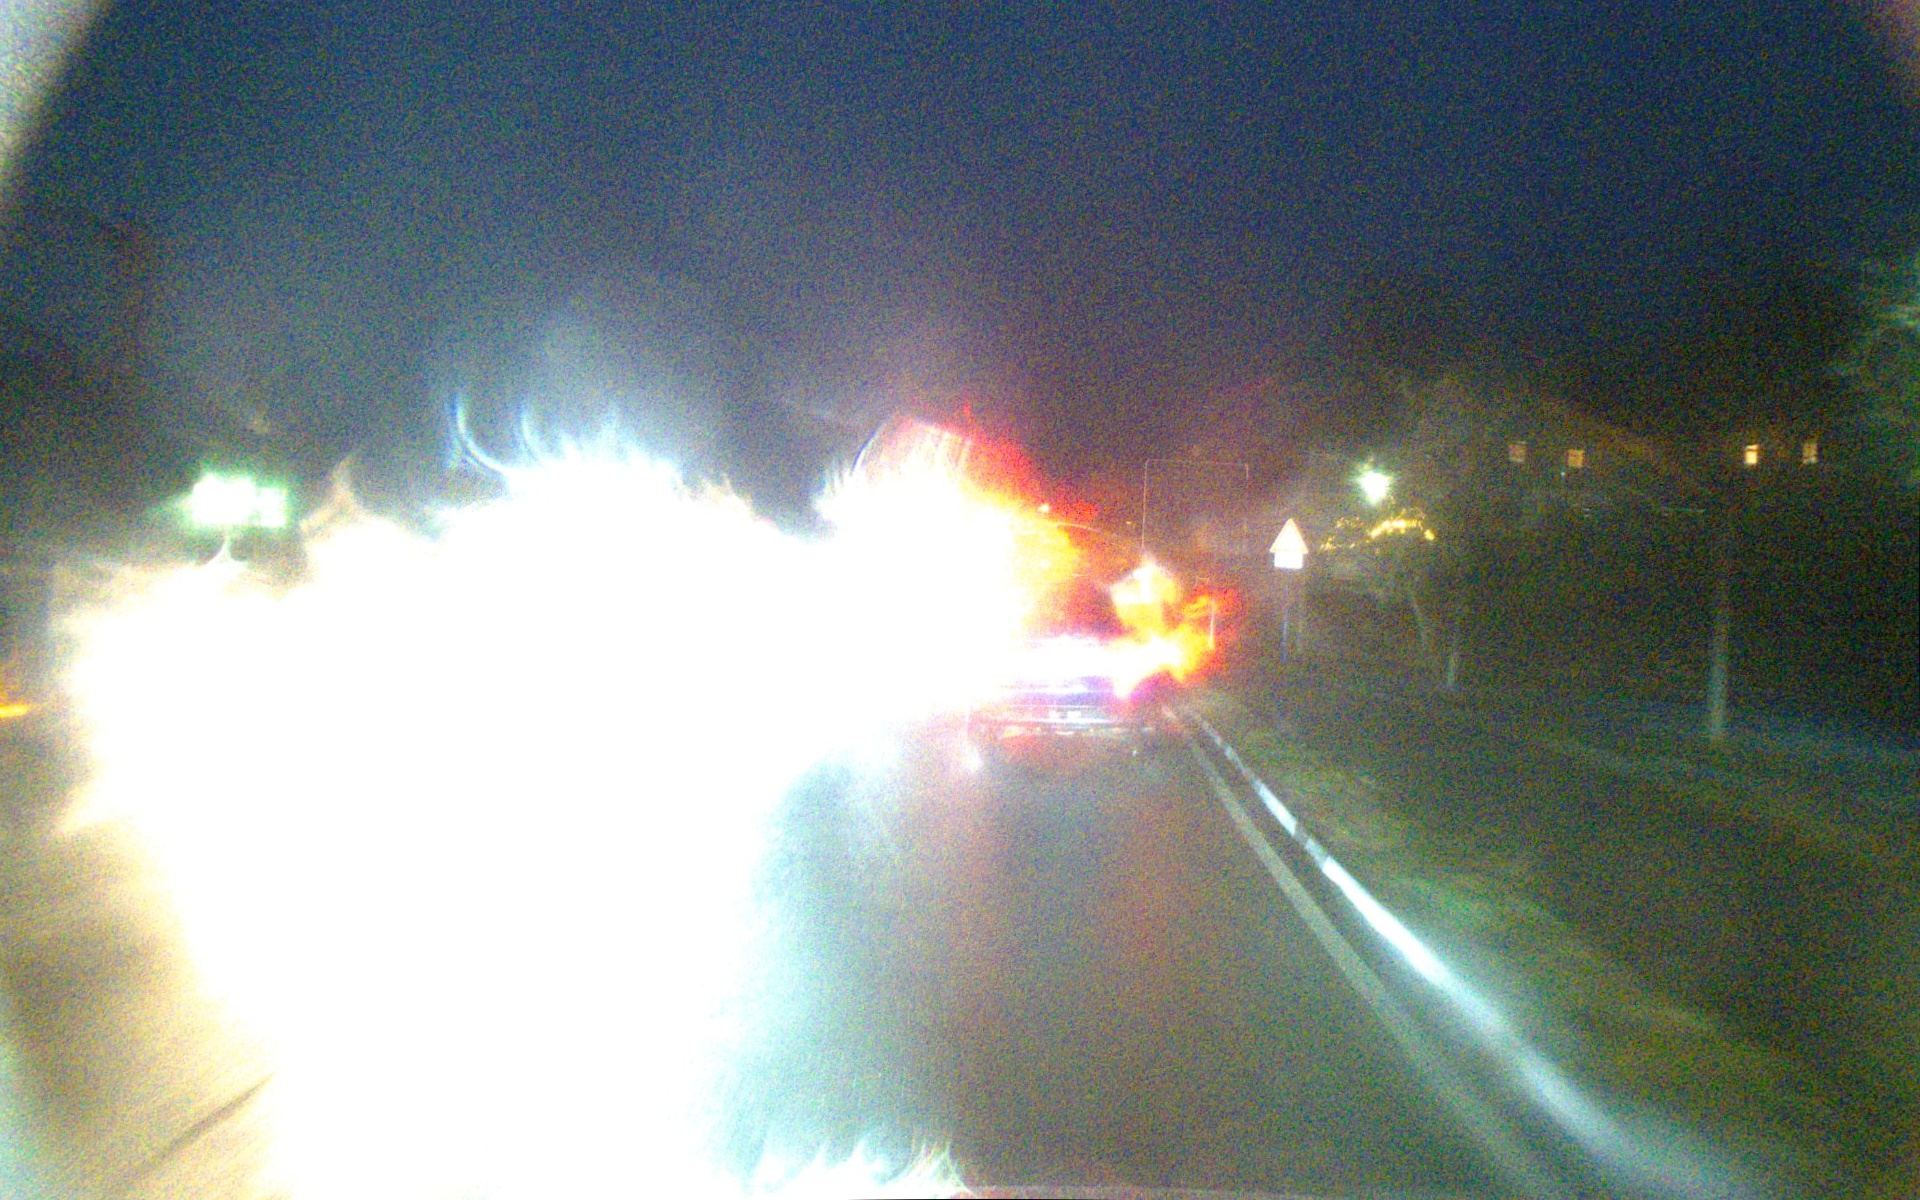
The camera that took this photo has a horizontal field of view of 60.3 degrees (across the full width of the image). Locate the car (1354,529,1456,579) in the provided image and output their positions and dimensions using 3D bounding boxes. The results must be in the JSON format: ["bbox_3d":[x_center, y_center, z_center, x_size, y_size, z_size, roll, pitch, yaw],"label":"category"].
[{"bbox_3d":[15.570,-1.577,58.081,1.609,1.646,4.118,1,0,-15],"label":"car"}]

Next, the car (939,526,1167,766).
[{"bbox_3d":[0.841,0.375,16.177,1.902,2.006,4.219,1,0,1],"label":"car"}]

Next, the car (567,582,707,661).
[{"bbox_3d":[-6.629,0.400,34.456,2.035,1.474,4.990,1,0,-2],"label":"car"}]

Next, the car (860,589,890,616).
[{"bbox_3d":[-4.936,0.117,96.075,1.660,1.459,4.291,2,0,-2],"label":"car"}]

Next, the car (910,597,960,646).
[{"bbox_3d":[-0.890,0.746,59.030,1.660,1.658,3.852,2,0,-1],"label":"car"}]

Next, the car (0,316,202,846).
[{"bbox_3d":[-6.026,-0.110,7.748,2.079,2.755,6.240,1,0,-1],"label":"car"}]

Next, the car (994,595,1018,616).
[{"bbox_3d":[3.265,0.410,117.012,1.628,1.475,4.051,1,-1,2],"label":"car"}]

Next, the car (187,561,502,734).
[{"bbox_3d":[-6.254,0.430,17.324,1.840,1.564,3.987,1,0,-1],"label":"car"}]

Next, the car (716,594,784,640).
[{"bbox_3d":[-7.156,0.549,56.759,1.879,1.469,4.544,1,0,-2],"label":"car"}]

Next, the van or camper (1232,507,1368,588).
[{"bbox_3d":[13.186,-1.972,64.668,2.538,2.959,6.330,0,0,-16],"label":"van or camper"}]

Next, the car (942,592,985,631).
[{"bbox_3d":[0.175,0.500,73.695,1.673,1.666,3.732,0,0,3],"label":"car"}]
